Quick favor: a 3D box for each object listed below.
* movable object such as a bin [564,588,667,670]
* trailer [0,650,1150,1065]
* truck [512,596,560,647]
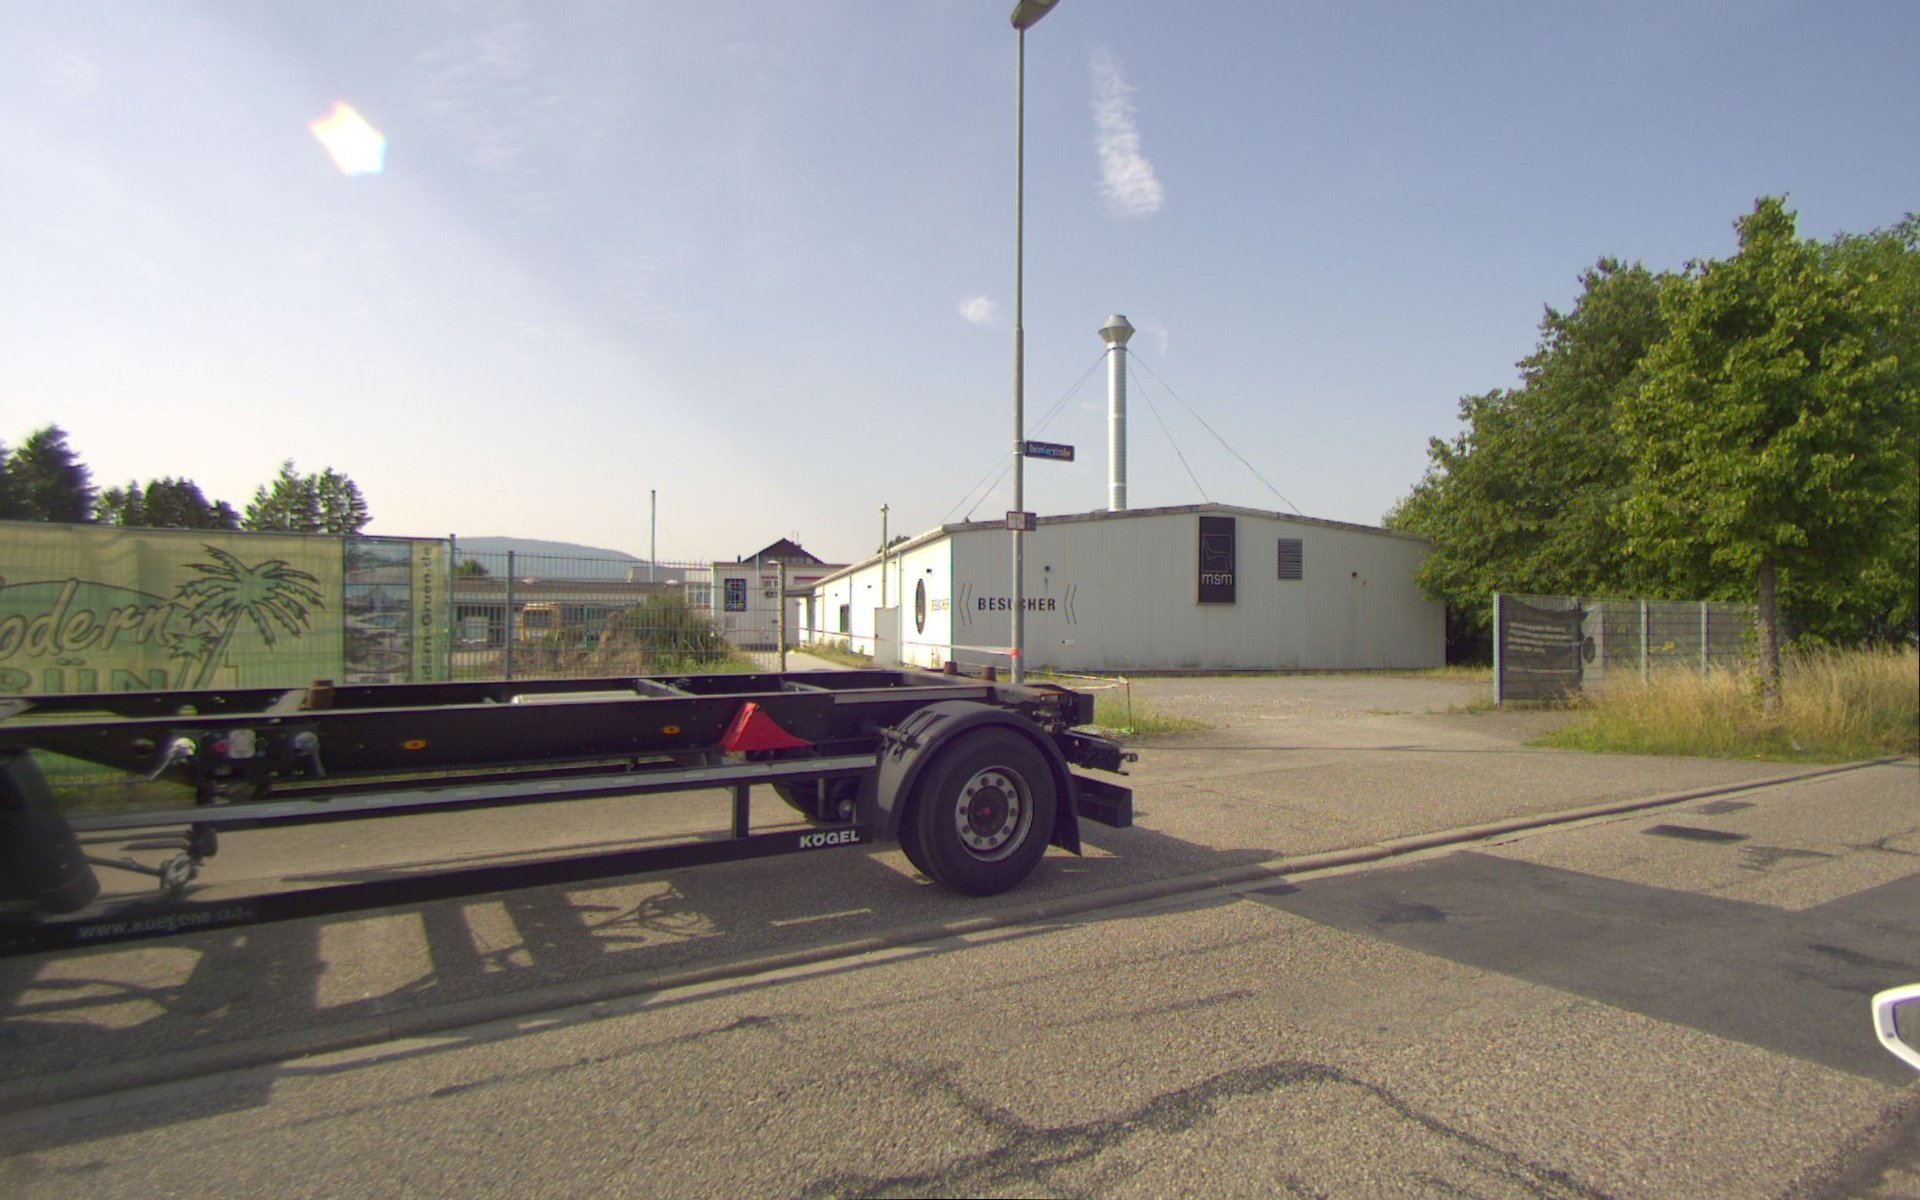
[{"bbox_3d":[-11.106,0.942,32.712,2.210,2.488,4.303,0,-2,-5],"label":"movable object such as a bin"},{"bbox_3d":[-3.442,0.935,4.670,9.259,1.200,2.568,1,0,-32],"label":"trailer"},{"bbox_3d":[-33.962,1.778,80.720,2.854,3.938,7.559,1,-2,-18],"label":"truck"}]
